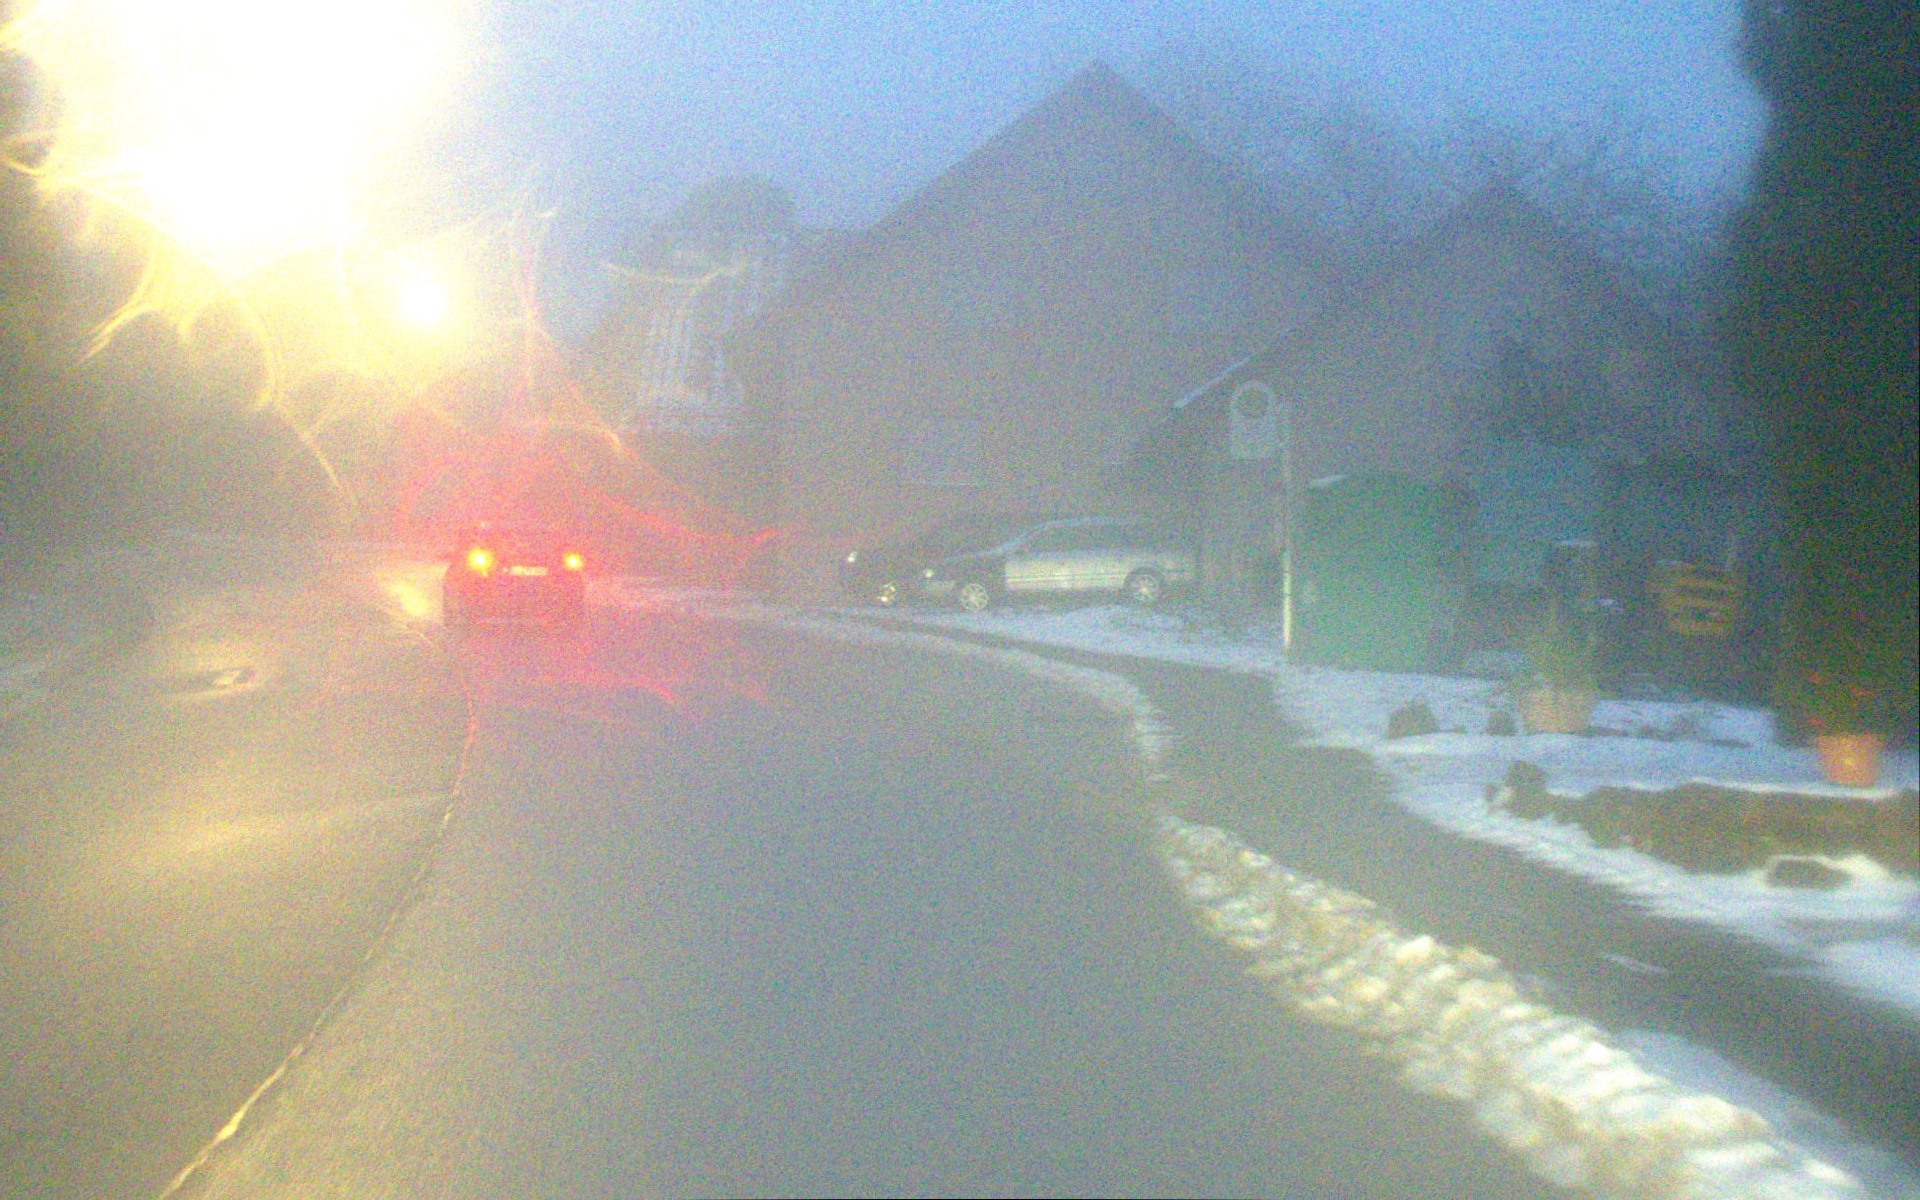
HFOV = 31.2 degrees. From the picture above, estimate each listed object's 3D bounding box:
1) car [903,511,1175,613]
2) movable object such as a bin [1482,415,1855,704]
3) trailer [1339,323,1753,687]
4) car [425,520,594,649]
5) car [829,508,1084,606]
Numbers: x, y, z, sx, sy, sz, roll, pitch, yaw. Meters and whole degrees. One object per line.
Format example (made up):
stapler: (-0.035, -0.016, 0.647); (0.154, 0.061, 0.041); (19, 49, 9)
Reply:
car: (1.265, -0.590, 54.689); (4.243, 1.554, 2.000); (0, -1, 2)
movable object such as a bin: (6.552, -0.364, 32.389); (2.387, 2.460, 4.516); (2, 0, -2)
trailer: (6.161, -0.964, 36.984); (2.874, 3.548, 5.063); (2, 0, -8)
car: (-6.464, -0.183, 49.013); (1.993, 1.731, 3.879); (0, -1, -13)
car: (-0.088, -0.710, 57.631); (4.158, 1.554, 1.946); (0, -1, -3)
